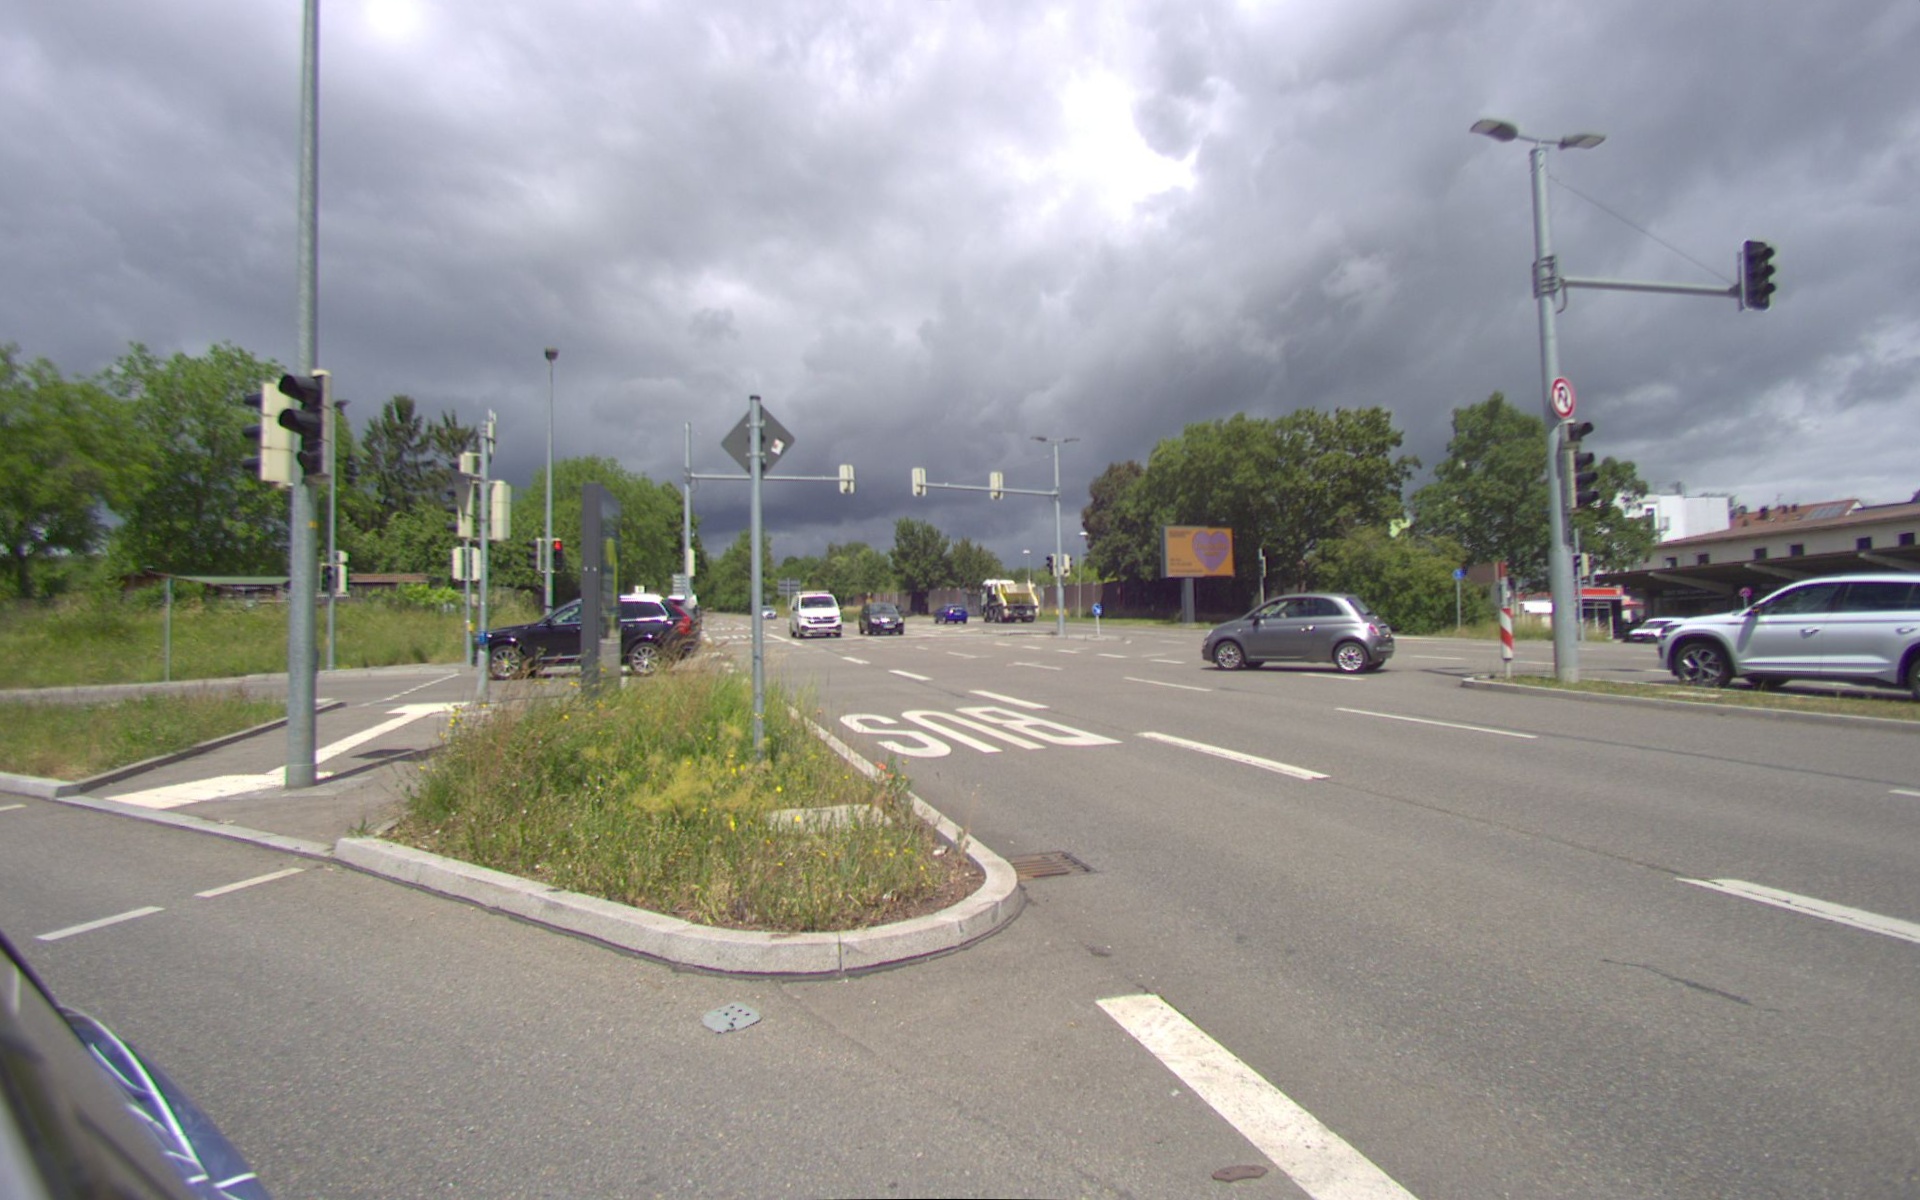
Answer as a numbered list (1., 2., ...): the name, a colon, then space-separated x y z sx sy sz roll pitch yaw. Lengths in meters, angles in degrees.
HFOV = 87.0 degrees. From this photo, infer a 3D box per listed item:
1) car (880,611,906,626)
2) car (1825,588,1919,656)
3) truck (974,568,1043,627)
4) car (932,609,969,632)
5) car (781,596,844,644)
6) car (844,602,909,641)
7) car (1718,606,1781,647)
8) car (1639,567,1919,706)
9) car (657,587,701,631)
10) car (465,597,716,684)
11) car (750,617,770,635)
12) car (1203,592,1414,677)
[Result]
1. car: -6.477 1.793 97.091 1.668 1.411 4.011 -1 -2 -16
2. car: 30.753 0.792 33.896 3.937 2.029 2.003 2 -7 -41
3. truck: 3.438 -0.094 73.864 2.798 3.607 6.986 -1 -6 -16
4. car: -0.738 1.543 74.174 1.668 1.411 4.011 -1 -4 -16
5. car: -6.627 0.883 45.127 1.878 1.952 4.986 -1 0 -18
6. car: -3.966 0.996 47.195 1.878 1.648 4.986 -1 0 -18
7. car: 29.069 0.949 37.243 1.695 1.411 3.948 -2 -2 39
8. car: 11.994 0.456 13.292 1.703 1.671 4.917 -1 -2 -23
9. car: -17.992 0.618 65.054 2.130 2.670 5.837 -2 -1 -10
10. car: -8.102 0.862 22.548 4.907 1.702 1.913 -2 -1 -4
11. car: -21.563 2.830 108.970 1.967 1.587 4.009 -1 -6 -13
12. car: 6.604 0.620 19.304 3.518 1.471 1.565 0 -2 37
